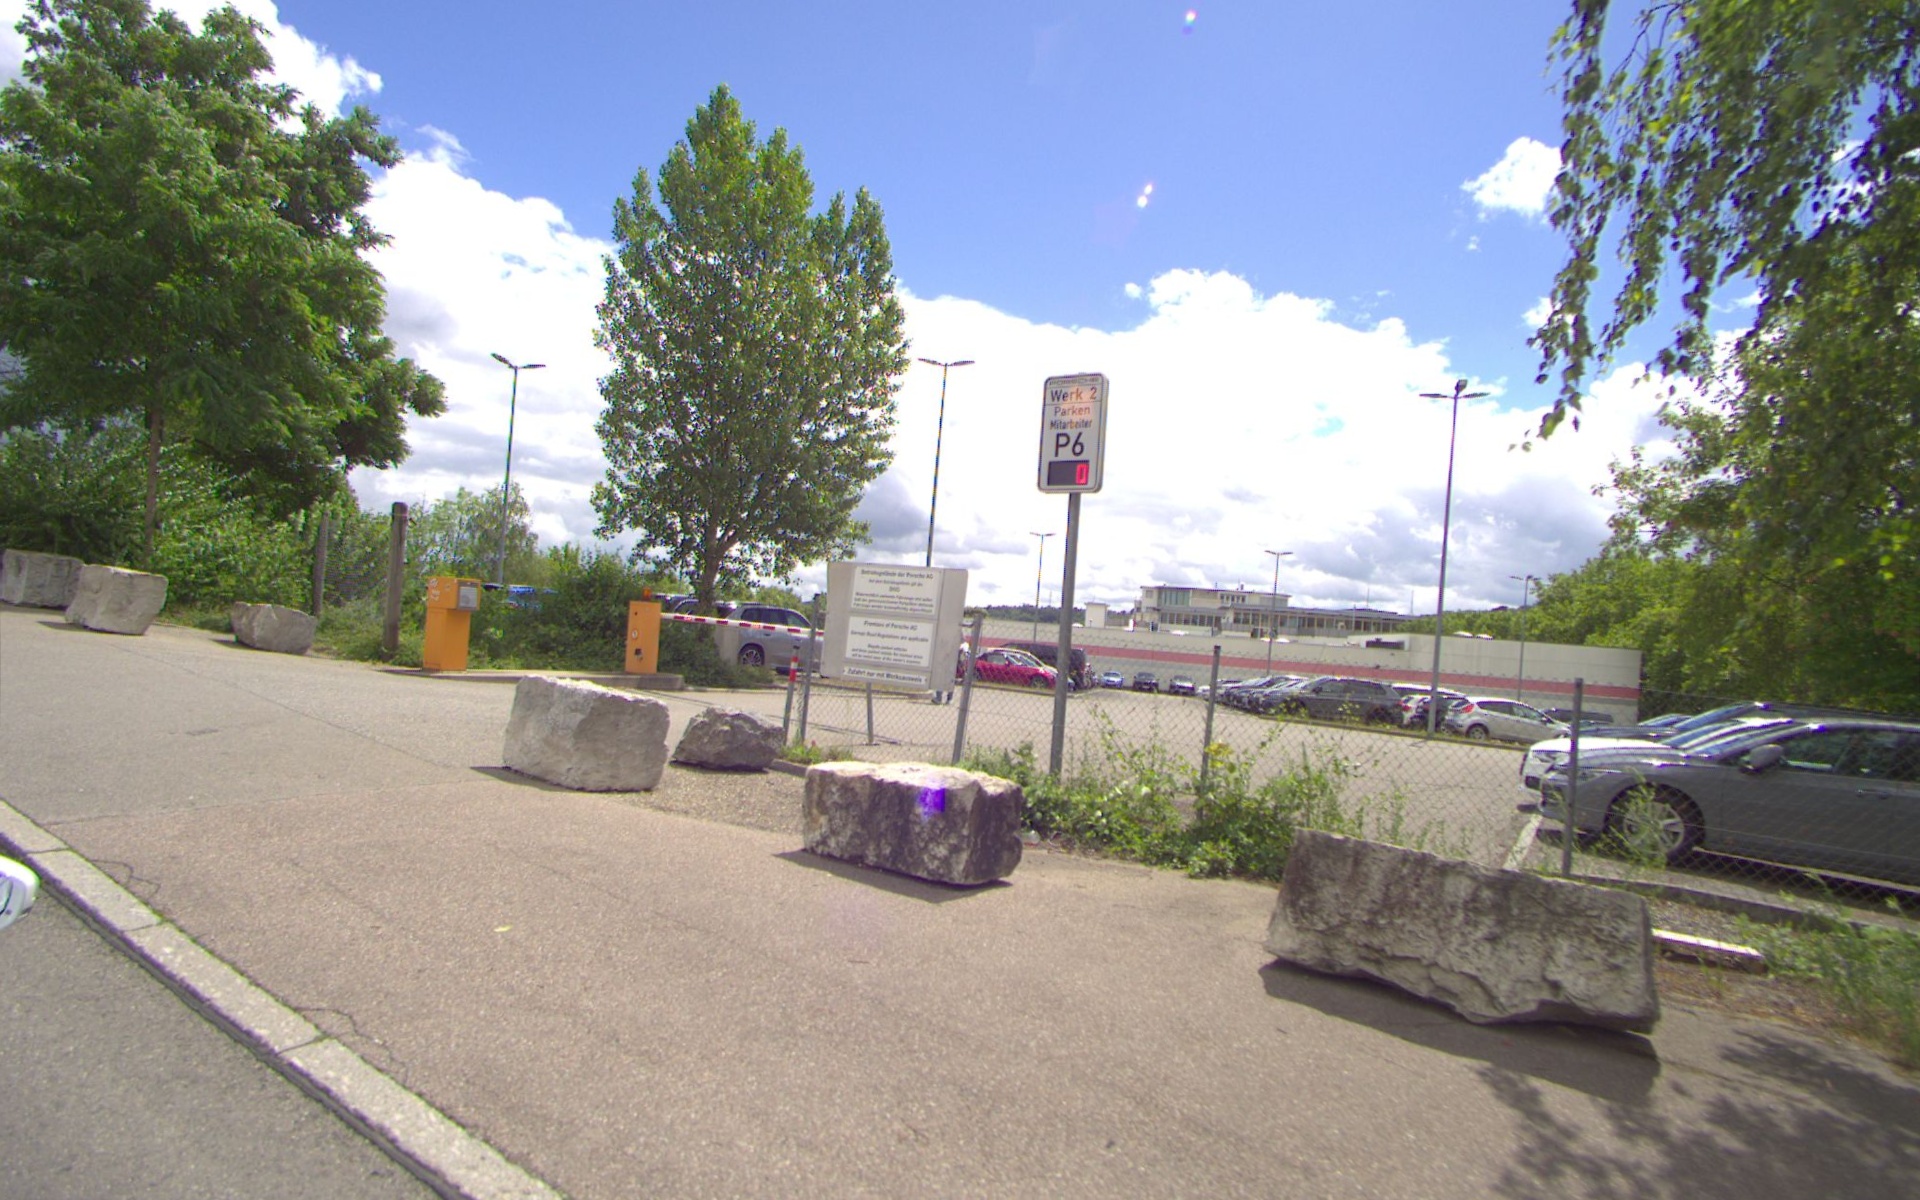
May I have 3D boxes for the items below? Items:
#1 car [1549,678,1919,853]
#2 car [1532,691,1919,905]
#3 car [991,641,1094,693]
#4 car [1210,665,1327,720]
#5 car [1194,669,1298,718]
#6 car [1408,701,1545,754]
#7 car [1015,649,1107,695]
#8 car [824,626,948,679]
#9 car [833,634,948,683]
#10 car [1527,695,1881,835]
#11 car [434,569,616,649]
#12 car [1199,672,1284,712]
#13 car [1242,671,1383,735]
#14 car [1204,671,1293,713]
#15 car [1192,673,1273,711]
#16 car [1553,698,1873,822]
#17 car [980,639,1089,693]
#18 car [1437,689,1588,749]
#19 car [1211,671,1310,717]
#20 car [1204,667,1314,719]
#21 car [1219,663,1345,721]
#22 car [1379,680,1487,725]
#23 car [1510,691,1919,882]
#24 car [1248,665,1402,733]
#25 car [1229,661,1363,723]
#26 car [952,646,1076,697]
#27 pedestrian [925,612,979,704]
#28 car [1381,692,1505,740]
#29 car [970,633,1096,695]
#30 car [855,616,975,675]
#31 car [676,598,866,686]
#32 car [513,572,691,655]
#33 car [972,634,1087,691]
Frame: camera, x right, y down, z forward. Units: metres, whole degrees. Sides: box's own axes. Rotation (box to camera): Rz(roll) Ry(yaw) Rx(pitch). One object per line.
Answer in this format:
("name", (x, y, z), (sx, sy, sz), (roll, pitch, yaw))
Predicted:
("car", (10.460, 2.121, 13.445), (4.207, 1.643, 1.874), (5, -2, 27))
("car", (7.402, 1.726, 8.781), (4.076, 1.405, 1.720), (3, -5, 32))
("car", (3.727, 3.025, 45.145), (4.359, 1.804, 2.005), (5, -4, 8))
("car", (12.995, 3.929, 42.629), (4.359, 1.804, 2.005), (5, -4, 8))
("car", (13.487, 4.420, 47.660), (4.359, 1.804, 2.005), (5, -4, 8))
("car", (17.536, 4.314, 34.326), (3.646, 1.279, 1.874), (5, -2, 7))
("car", (5.104, 3.628, 50.419), (4.359, 1.804, 2.005), (5, -4, 8))
("car", (-2.582, 1.868, 35.477), (3.923, 1.405, 1.725), (5, -4, 12))
("car", (-2.620, 2.240, 38.162), (3.923, 1.405, 1.725), (5, -4, 12))
("car", (11.678, 2.534, 16.209), (4.207, 1.467, 1.875), (5, -2, 27))
("car", (-11.334, 0.301, 26.570), (1.837, 1.689, 4.353), (5, -2, 19))
("car", (16.212, 5.332, 58.047), (4.359, 1.804, 2.005), (5, -4, 8))
("car", (12.121, 3.541, 34.866), (4.267, 1.689, 1.874), (5, -2, 11))
("car", (15.886, 5.086, 55.609), (4.359, 1.804, 2.005), (5, -4, 8))
("car", (16.339, 5.559, 60.491), (4.359, 1.804, 2.005), (5, -4, 8))
("car", (13.219, 2.749, 18.029), (4.207, 1.467, 1.875), (5, -2, 27))
("car", (3.209, 2.833, 42.736), (4.359, 1.804, 2.005), (5, -4, 8))
("car", (17.384, 3.737, 31.818), (3.646, 1.403, 1.874), (5, -2, 7))
("car", (14.946, 4.691, 50.287), (4.359, 1.804, 2.005), (5, -4, 8))
("car", (13.308, 4.171, 45.027), (4.359, 1.804, 2.005), (5, -4, 8))
("car", (12.756, 3.682, 40.082), (4.359, 1.804, 2.005), (5, -4, 8))
("car", (20.065, 4.350, 42.829), (3.647, 1.465, 1.874), (5, -2, 5))
("car", (8.751, 2.019, 11.420), (4.207, 1.468, 1.875), (5, -2, 27))
("car", (11.726, 3.164, 32.575), (4.267, 1.689, 1.874), (5, -2, 7))
("car", (12.556, 3.466, 37.846), (4.359, 1.804, 2.005), (5, -4, 8))
("car", (1.844, 2.425, 34.137), (3.923, 1.275, 1.507), (5, -4, 12))
("pedestrian", (-0.146, 1.169, 20.053), (0.864, 1.715, 0.816), (6, -4, 3))
("car", (17.794, 4.248, 37.184), (3.646, 1.279, 1.874), (5, -2, 7))
("car", (2.729, 2.371, 37.045), (4.359, 1.781, 2.005), (5, -4, 8))
("car", (-1.798, 1.872, 41.341), (4.559, 1.894, 1.725), (5, -4, 6))
("car", (-4.179, 0.989, 22.773), (1.751, 1.501, 3.990), (3, -6, 38))
("car", (-8.955, 0.412, 25.632), (1.837, 1.689, 4.353), (5, -2, 19))
("car", (2.845, 2.525, 40.492), (4.359, 1.804, 2.005), (5, -4, 8))
